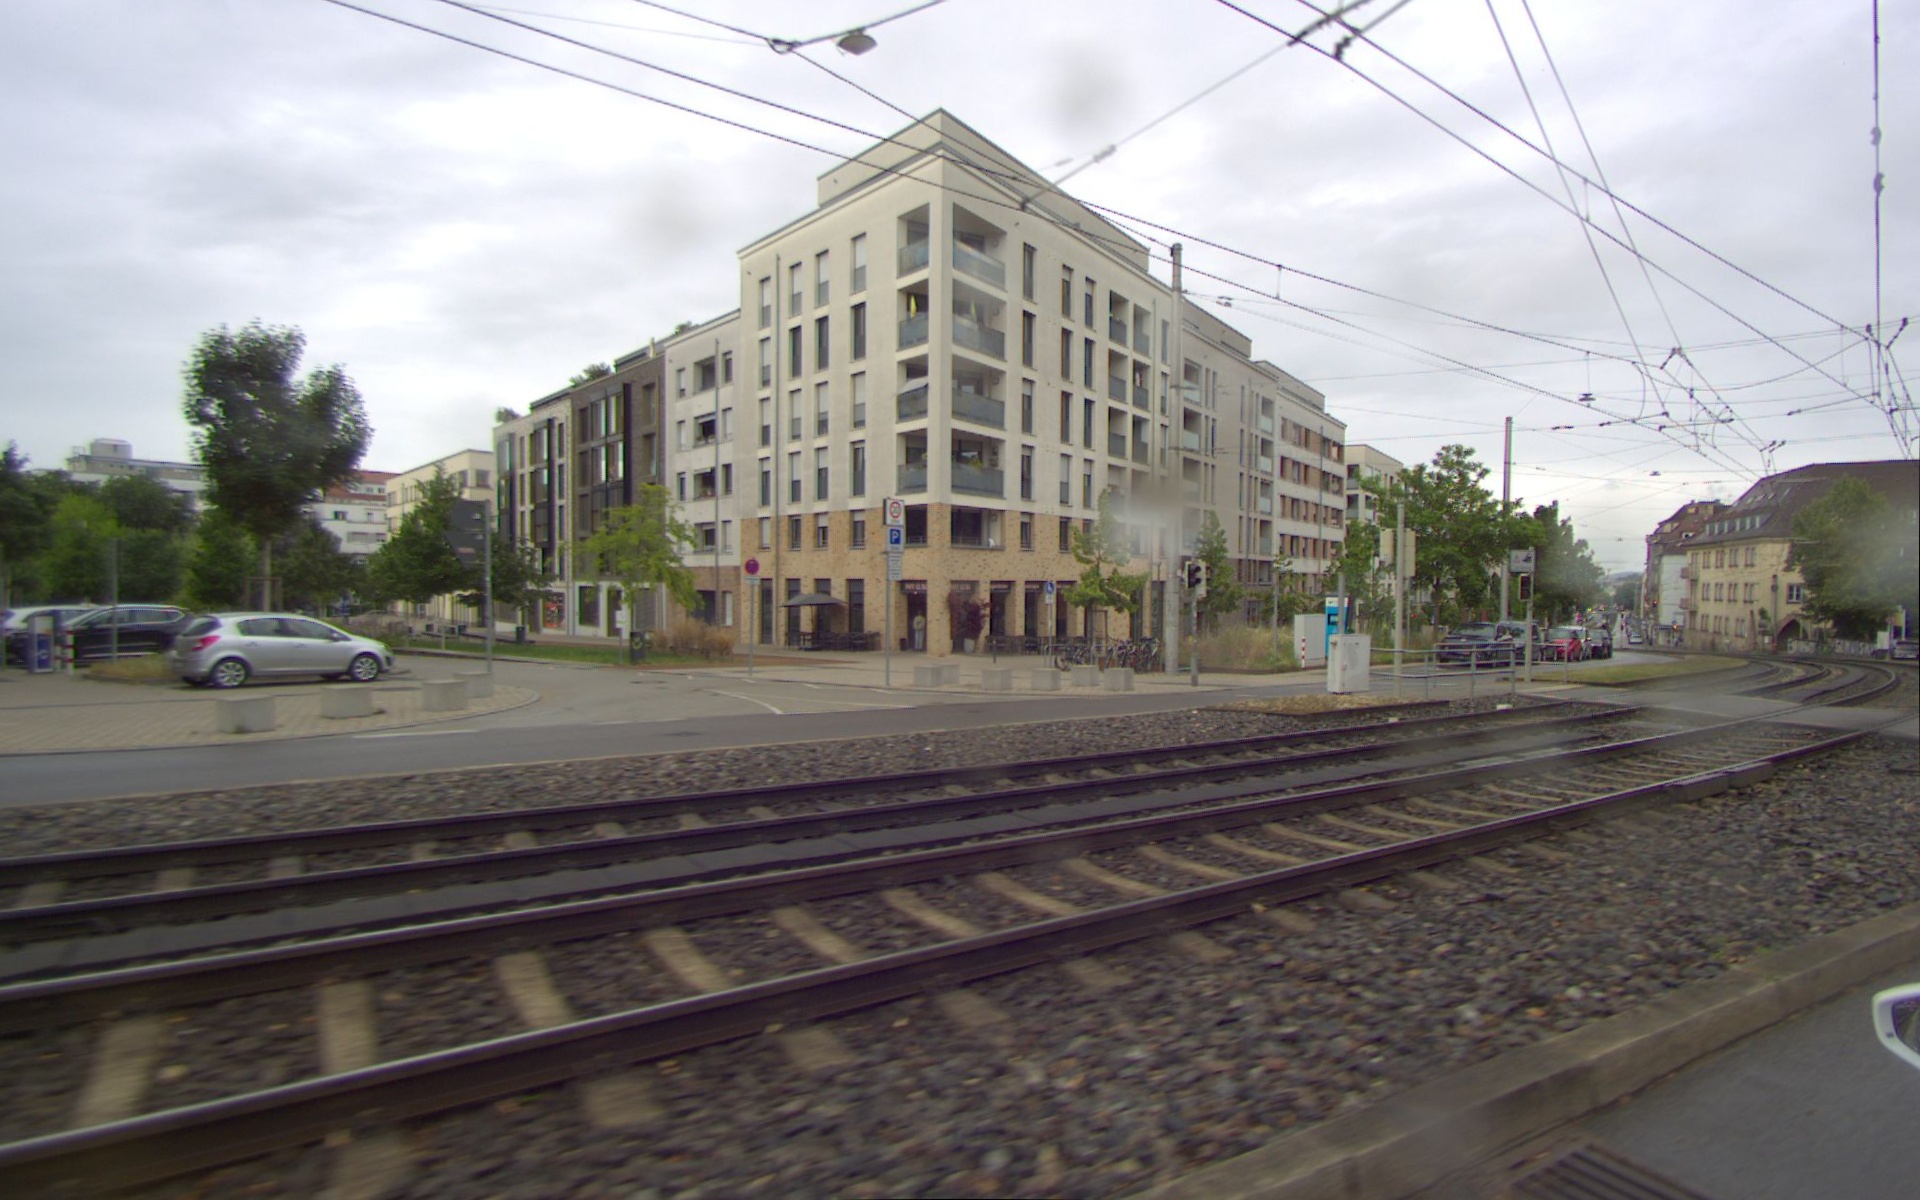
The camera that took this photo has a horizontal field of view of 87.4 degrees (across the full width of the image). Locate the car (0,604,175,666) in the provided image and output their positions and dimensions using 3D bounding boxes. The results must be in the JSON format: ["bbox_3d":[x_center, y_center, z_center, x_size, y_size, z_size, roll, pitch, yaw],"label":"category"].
[{"bbox_3d":[-25.339,0.979,28.898,1.909,1.639,3.985,0,-1,36],"label":"car"}]

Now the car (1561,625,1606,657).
[{"bbox_3d":[35.355,2.313,56.888,1.710,1.666,4.514,1,-1,37],"label":"car"}]

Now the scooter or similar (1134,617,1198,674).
[{"bbox_3d":[6.107,1.320,29.654,2.345,1.617,0.594,2,-1,-44],"label":"scooter or similar"}]

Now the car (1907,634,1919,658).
[{"bbox_3d":[62.336,2.939,63.964,1.639,1.496,4.107,-1,-2,24],"label":"car"}]

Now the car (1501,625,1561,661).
[{"bbox_3d":[25.835,1.932,45.376,1.532,1.466,4.379,2,-1,40],"label":"car"}]

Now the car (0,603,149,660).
[{"bbox_3d":[-27.154,0.924,30.200,1.909,1.639,3.985,0,-1,36],"label":"car"}]

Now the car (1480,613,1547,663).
[{"bbox_3d":[22.728,1.549,41.171,1.562,1.884,4.313,3,0,40],"label":"car"}]

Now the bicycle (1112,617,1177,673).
[{"bbox_3d":[5.558,1.334,30.191,2.345,1.617,0.669,2,-1,-44],"label":"bicycle"}]

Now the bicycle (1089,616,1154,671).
[{"bbox_3d":[4.973,1.318,30.835,2.345,1.617,0.669,2,-1,-44],"label":"bicycle"}]

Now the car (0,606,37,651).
[{"bbox_3d":[-36.722,1.034,36.802,1.910,1.639,3.984,0,-1,37],"label":"car"}]

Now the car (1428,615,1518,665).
[{"bbox_3d":[19.037,1.468,37.167,1.970,1.626,4.195,4,1,40],"label":"car"}]

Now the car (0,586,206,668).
[{"bbox_3d":[-23.189,0.726,27.275,1.909,2.040,3.985,0,-1,36],"label":"car"}]

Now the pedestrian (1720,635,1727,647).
[{"bbox_3d":[84.541,4.579,111.281,0.496,1.333,0.511,1,-1,24],"label":"pedestrian"}]

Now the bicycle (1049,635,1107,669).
[{"bbox_3d":[3.821,1.660,32.381,2.212,1.061,0.471,2,-1,-40],"label":"bicycle"}]

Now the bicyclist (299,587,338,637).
[{"bbox_3d":[-23.658,0.448,37.058,0.773,1.828,0.901,0,-1,20],"label":"bicyclist"}]

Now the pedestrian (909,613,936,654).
[{"bbox_3d":[-1.529,1.372,40.997,0.891,1.673,0.837,1,-2,-23],"label":"pedestrian"}]

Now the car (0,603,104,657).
[{"bbox_3d":[-29.648,0.932,31.454,1.909,1.639,3.985,0,-1,36],"label":"car"}]

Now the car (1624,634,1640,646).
[{"bbox_3d":[106.597,6.385,159.346,1.966,1.795,3.988,1,-1,34],"label":"car"}]

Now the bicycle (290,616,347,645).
[{"bbox_3d":[-23.645,1.110,37.028,1.973,1.042,0.735,0,-1,21],"label":"bicycle"}]

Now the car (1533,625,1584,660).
[{"bbox_3d":[28.952,2.029,48.544,1.454,1.551,2.914,3,0,44],"label":"car"}]

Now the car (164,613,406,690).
[{"bbox_3d":[-14.059,1.031,21.133,1.574,1.439,3.906,1,-1,33],"label":"car"}]

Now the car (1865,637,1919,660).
[{"bbox_3d":[64.590,3.317,69.651,1.640,1.544,4.105,-1,-2,26],"label":"car"}]
